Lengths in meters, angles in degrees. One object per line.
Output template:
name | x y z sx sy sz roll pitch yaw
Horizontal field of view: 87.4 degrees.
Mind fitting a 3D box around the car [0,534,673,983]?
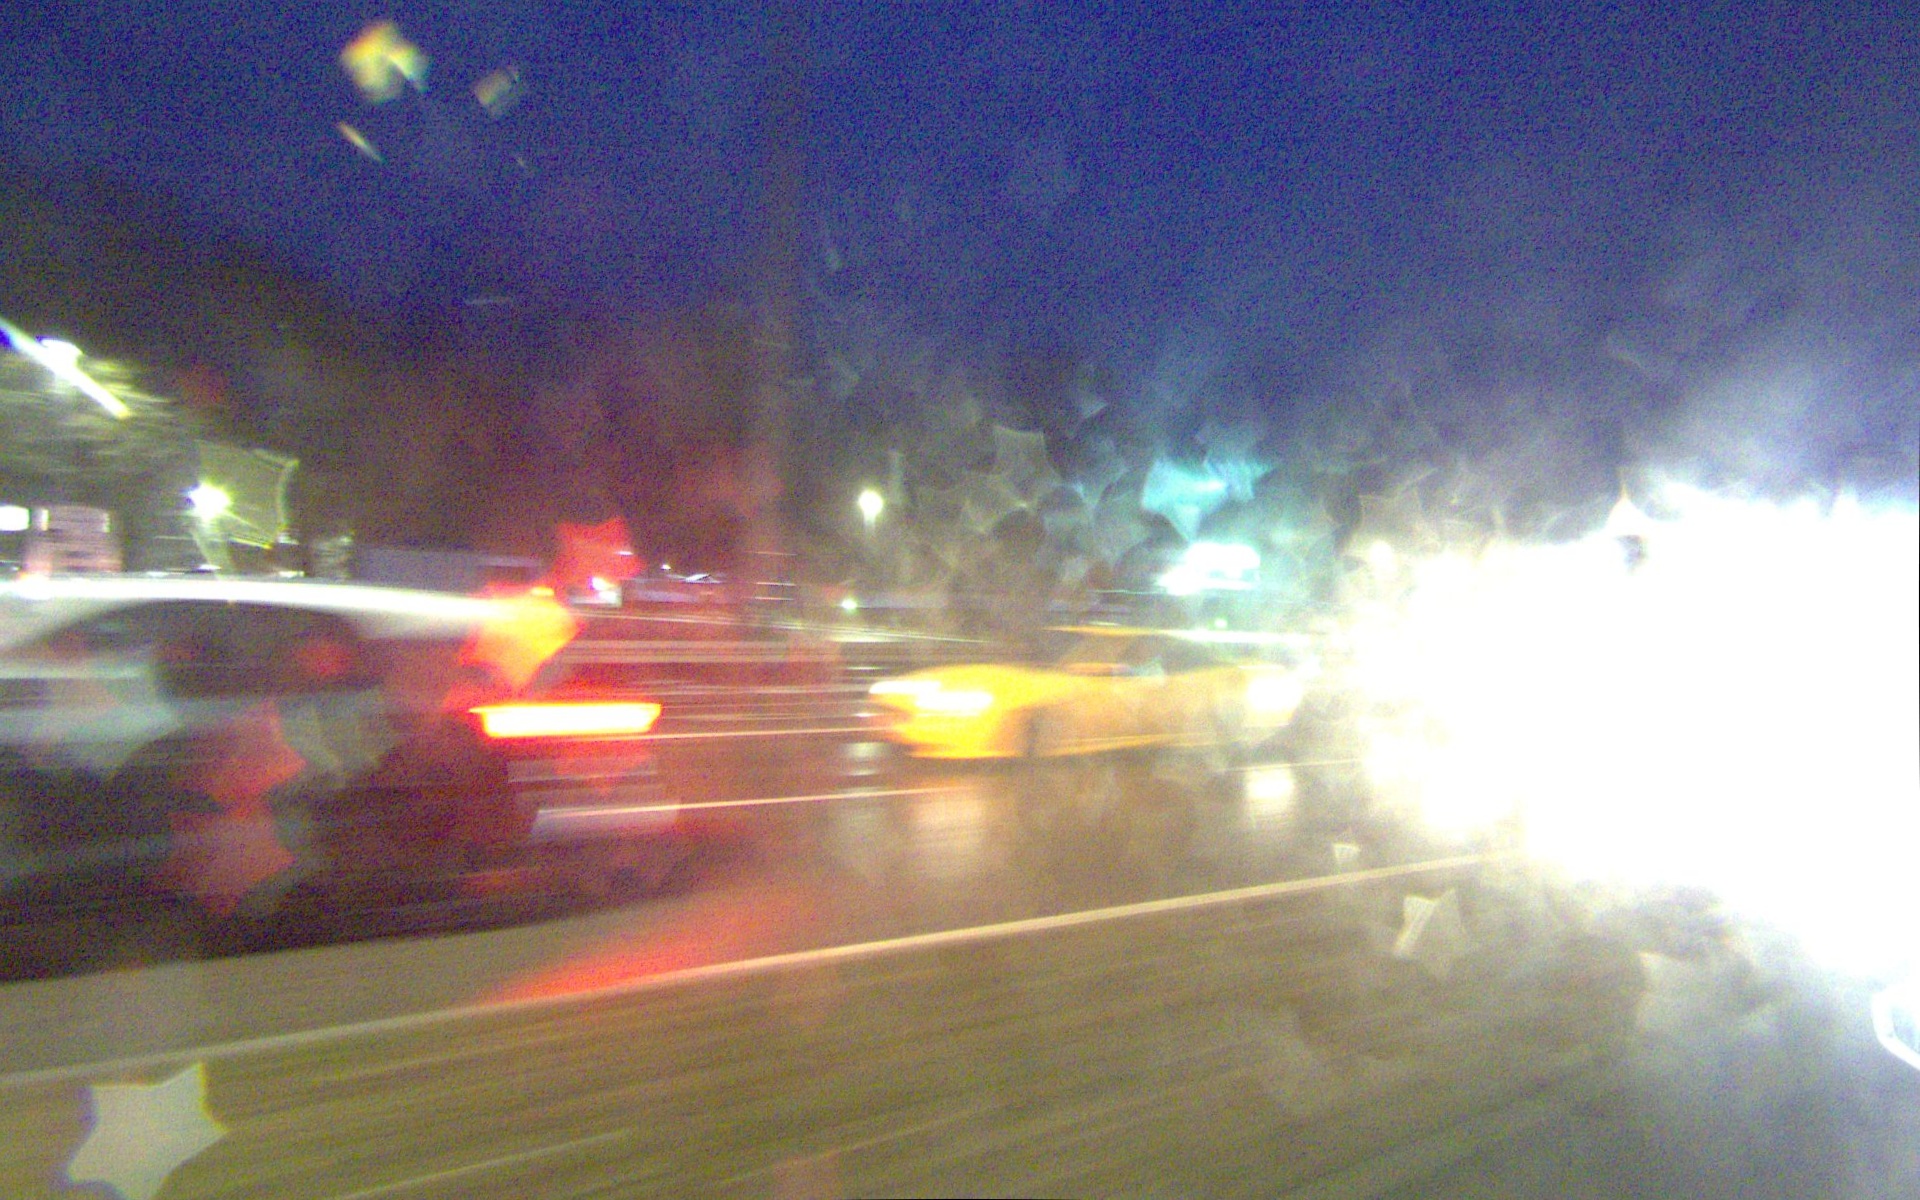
car | -3.757 0.546 4.463 4.414 1.591 1.947 2 0 -30

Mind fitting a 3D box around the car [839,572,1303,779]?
car | 1.182 0.680 10.477 4.441 1.770 1.986 1 1 -27

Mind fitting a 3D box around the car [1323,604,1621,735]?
car | 7.106 0.889 13.932 3.642 1.549 1.957 1 1 -29

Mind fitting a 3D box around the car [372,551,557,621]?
car | -18.163 -0.483 37.044 5.946 2.338 1.985 1 1 -28

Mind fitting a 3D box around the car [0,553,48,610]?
car | -28.506 -0.549 28.136 1.965 1.613 3.991 2 1 32

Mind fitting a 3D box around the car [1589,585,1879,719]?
car | 13.569 0.847 17.575 4.933 2.040 2.145 1 1 -28

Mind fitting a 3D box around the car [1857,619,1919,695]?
car | 22.624 1.272 22.415 5.136 1.579 2.174 1 0 -27

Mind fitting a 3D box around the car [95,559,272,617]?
car | -24.972 -0.351 32.492 4.408 1.716 1.831 1 1 -38
